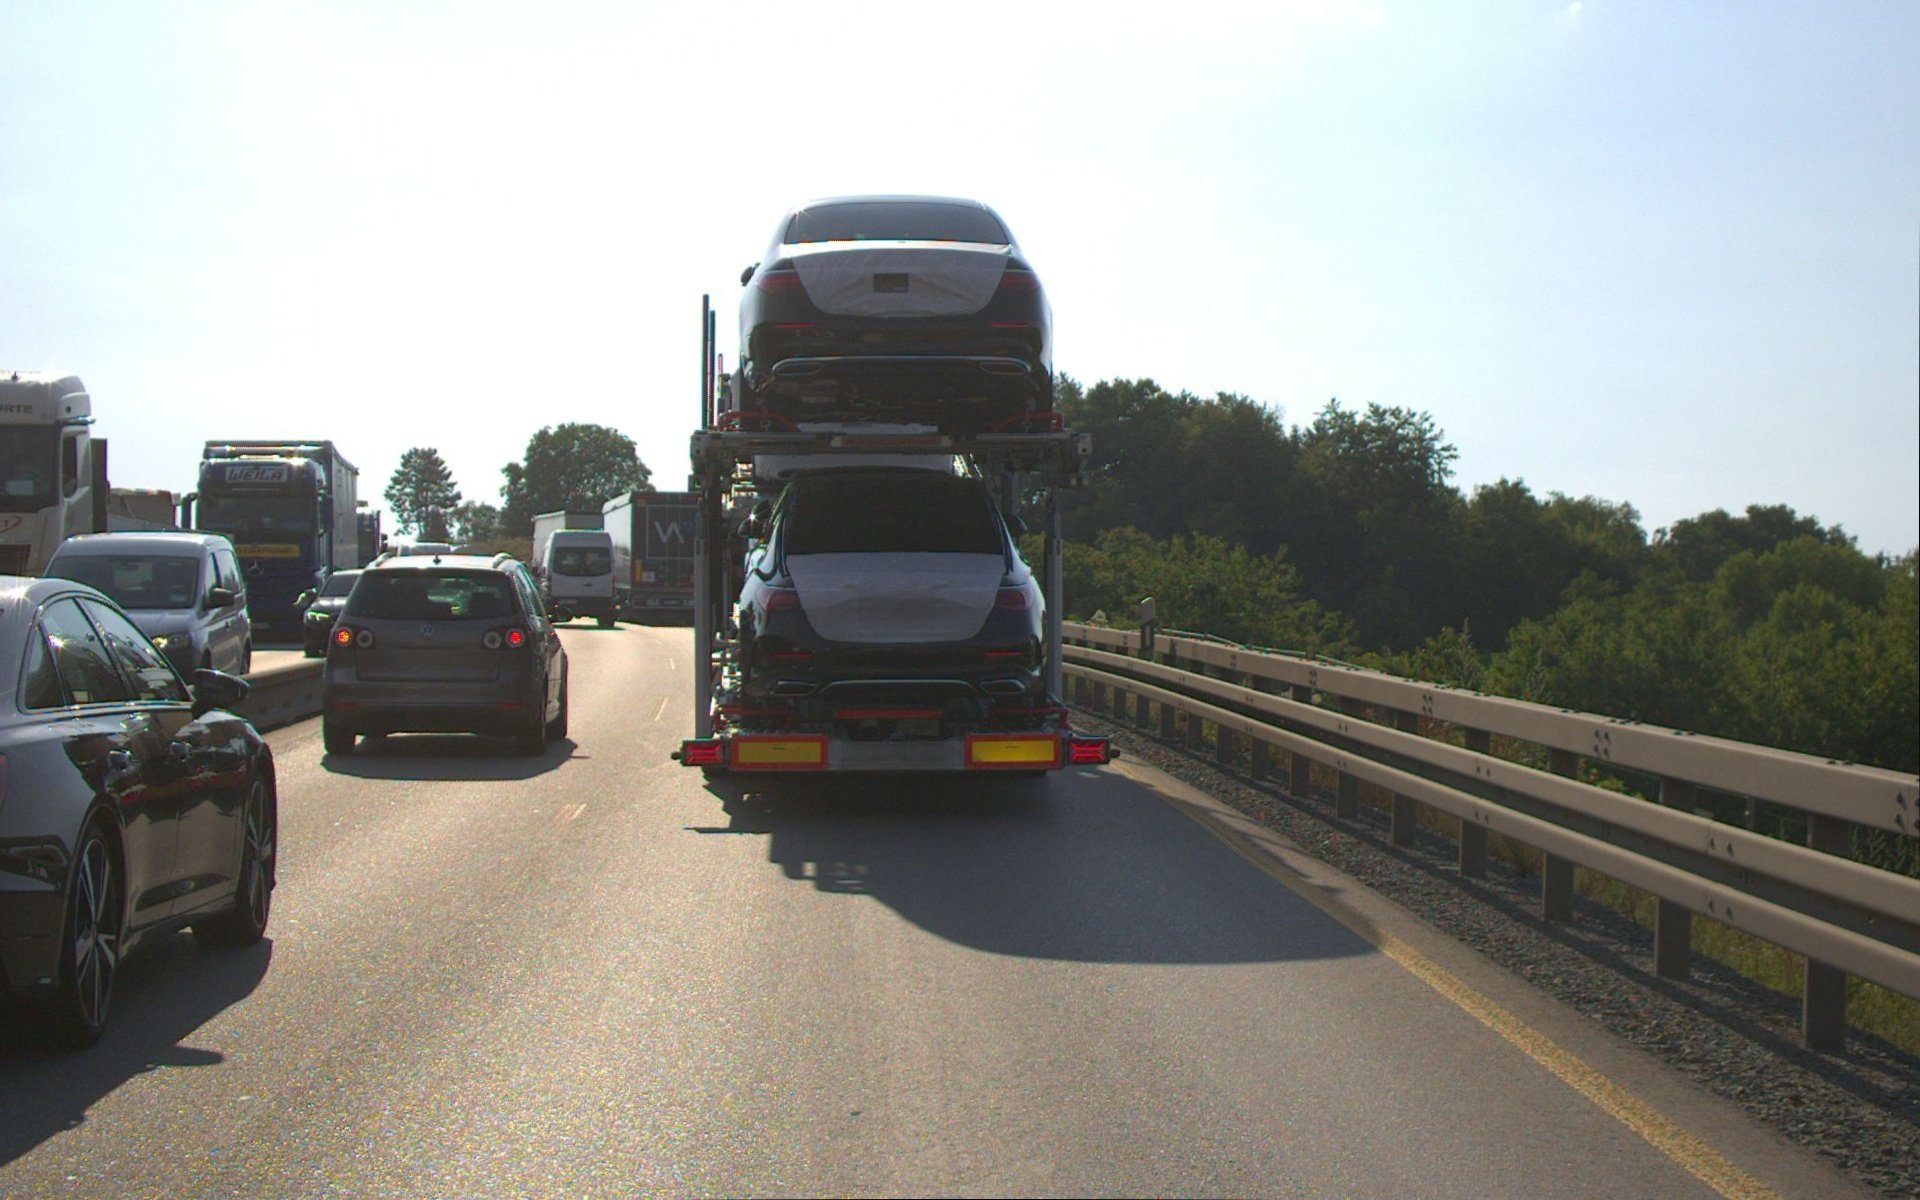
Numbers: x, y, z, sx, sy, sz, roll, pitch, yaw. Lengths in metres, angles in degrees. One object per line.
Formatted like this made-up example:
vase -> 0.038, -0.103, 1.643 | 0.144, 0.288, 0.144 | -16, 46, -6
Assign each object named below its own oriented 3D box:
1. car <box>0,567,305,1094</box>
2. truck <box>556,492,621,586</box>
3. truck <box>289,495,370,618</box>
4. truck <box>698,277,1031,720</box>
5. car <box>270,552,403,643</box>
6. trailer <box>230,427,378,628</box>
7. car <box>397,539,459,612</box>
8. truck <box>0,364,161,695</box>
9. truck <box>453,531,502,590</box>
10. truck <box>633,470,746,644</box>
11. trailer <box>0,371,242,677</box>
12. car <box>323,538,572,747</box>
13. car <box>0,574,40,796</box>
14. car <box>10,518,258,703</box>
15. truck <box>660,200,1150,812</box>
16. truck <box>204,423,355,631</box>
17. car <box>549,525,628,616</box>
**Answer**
car -> -3.571, 0.600, 11.736 | 1.934, 1.394, 4.961 | 0, 1, -3
truck -> -14.904, -2.408, 138.266 | 2.530, 3.635, 8.907 | 0, 0, -6
truck -> -21.316, -1.448, 116.473 | 2.502, 4.052, 5.885 | 0, 0, -8
truck -> -1.151, -0.891, 34.349 | 2.837, 3.779, 9.988 | 0, 0, -4
car -> -10.659, -0.058, 59.009 | 1.793, 1.506, 4.587 | 0, 0, -4
trailer -> -14.651, -1.522, 77.598 | 2.306, 4.116, 14.604 | 0, 0, -7
car -> -18.742, -0.859, 121.329 | 2.056, 2.491, 6.777 | 0, 0, -8
truck -> -11.639, -0.820, 42.151 | 2.600, 3.741, 6.518 | 0, 0, -4
truck -> -26.287, -2.131, 187.238 | 2.590, 3.159, 6.678 | 0, 0, -8
truck -> -8.627, -1.325, 108.665 | 3.285, 5.219, 9.937 | 0, 0, -6
trailer -> -12.250, -0.965, 48.629 | 2.519, 3.712, 13.981 | 0, 0, -5
car -> -4.130, 0.310, 28.216 | 1.691, 1.590, 4.001 | 0, 0, -4
car -> -7.178, 0.569, 21.687 | 1.680, 1.474, 4.603 | 0, 0, -2
car -> -8.010, 0.081, 33.672 | 1.756, 1.689, 4.454 | 0, 0, -5
truck -> -0.601, -0.562, 24.954 | 2.799, 3.485, 10.606 | 0, 0, -3
truck -> -13.798, -1.438, 70.045 | 2.503, 4.052, 5.666 | 0, 0, -6
car -> -10.388, -0.811, 96.393 | 1.920, 2.484, 5.409 | 0, 0, -3
